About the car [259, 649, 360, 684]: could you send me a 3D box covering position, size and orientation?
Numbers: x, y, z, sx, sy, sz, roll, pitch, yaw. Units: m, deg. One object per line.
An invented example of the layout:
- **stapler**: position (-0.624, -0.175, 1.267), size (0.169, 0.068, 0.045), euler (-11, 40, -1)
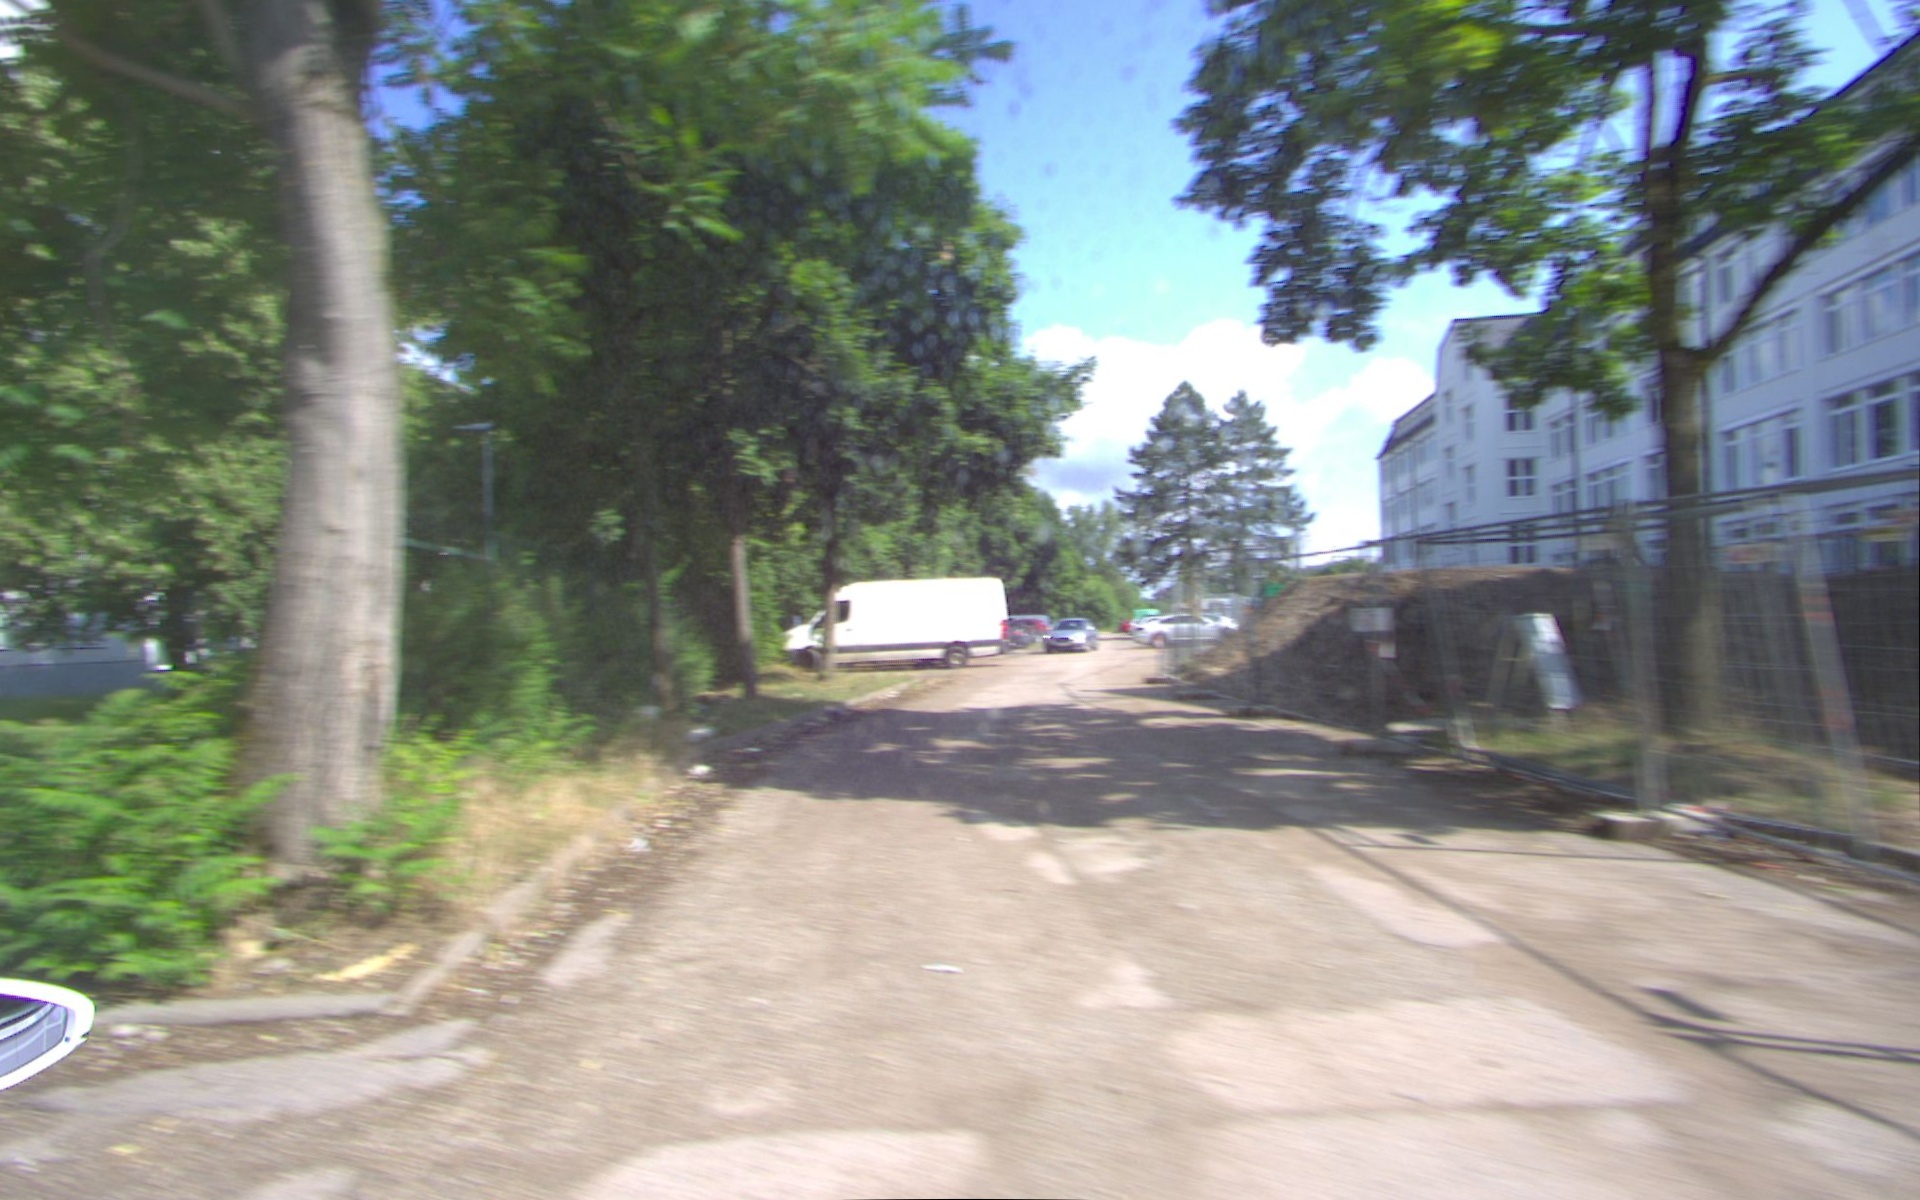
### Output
- **car**: position (-30.187, 3.077, 46.620), size (1.725, 1.438, 3.916), euler (1, -1, 10)

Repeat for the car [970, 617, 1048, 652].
- **car**: position (3.223, 2.257, 65.150), size (4.776, 2.038, 1.846), euler (1, -3, 11)

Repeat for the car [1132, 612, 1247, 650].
- **car**: position (9.954, 1.349, 43.750), size (4.776, 1.445, 1.846), euler (1, -3, 11)

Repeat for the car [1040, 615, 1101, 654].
- **car**: position (4.708, 1.477, 42.187), size (1.811, 1.445, 3.999), euler (1, -4, 17)

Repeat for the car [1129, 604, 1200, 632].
- **car**: position (13.282, 1.181, 65.201), size (4.203, 1.605, 1.847), euler (2, -3, 3)

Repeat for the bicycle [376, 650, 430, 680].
- **bicycle**: position (-28.997, 3.376, 52.185), size (0.787, 1.438, 2.851), euler (1, -1, 10)

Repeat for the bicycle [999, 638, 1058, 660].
- **bicycle**: position (3.435, 2.460, 50.209), size (2.831, 1.003, 1.018), euler (2, -3, 9)

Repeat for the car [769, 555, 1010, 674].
- **car**: position (-2.100, 0.480, 29.998), size (6.843, 3.086, 2.000), euler (3, -1, -6)

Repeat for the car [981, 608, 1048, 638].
- **car**: position (4.076, 1.699, 74.518), size (4.776, 2.038, 1.846), euler (1, -3, 11)

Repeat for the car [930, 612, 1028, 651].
- **car**: position (0.850, 1.343, 42.286), size (3.922, 1.445, 1.846), euler (2, -3, 7)

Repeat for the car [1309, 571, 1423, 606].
- **car**: position (19.346, -0.533, 47.902), size (4.776, 1.445, 1.846), euler (1, -3, 11)
